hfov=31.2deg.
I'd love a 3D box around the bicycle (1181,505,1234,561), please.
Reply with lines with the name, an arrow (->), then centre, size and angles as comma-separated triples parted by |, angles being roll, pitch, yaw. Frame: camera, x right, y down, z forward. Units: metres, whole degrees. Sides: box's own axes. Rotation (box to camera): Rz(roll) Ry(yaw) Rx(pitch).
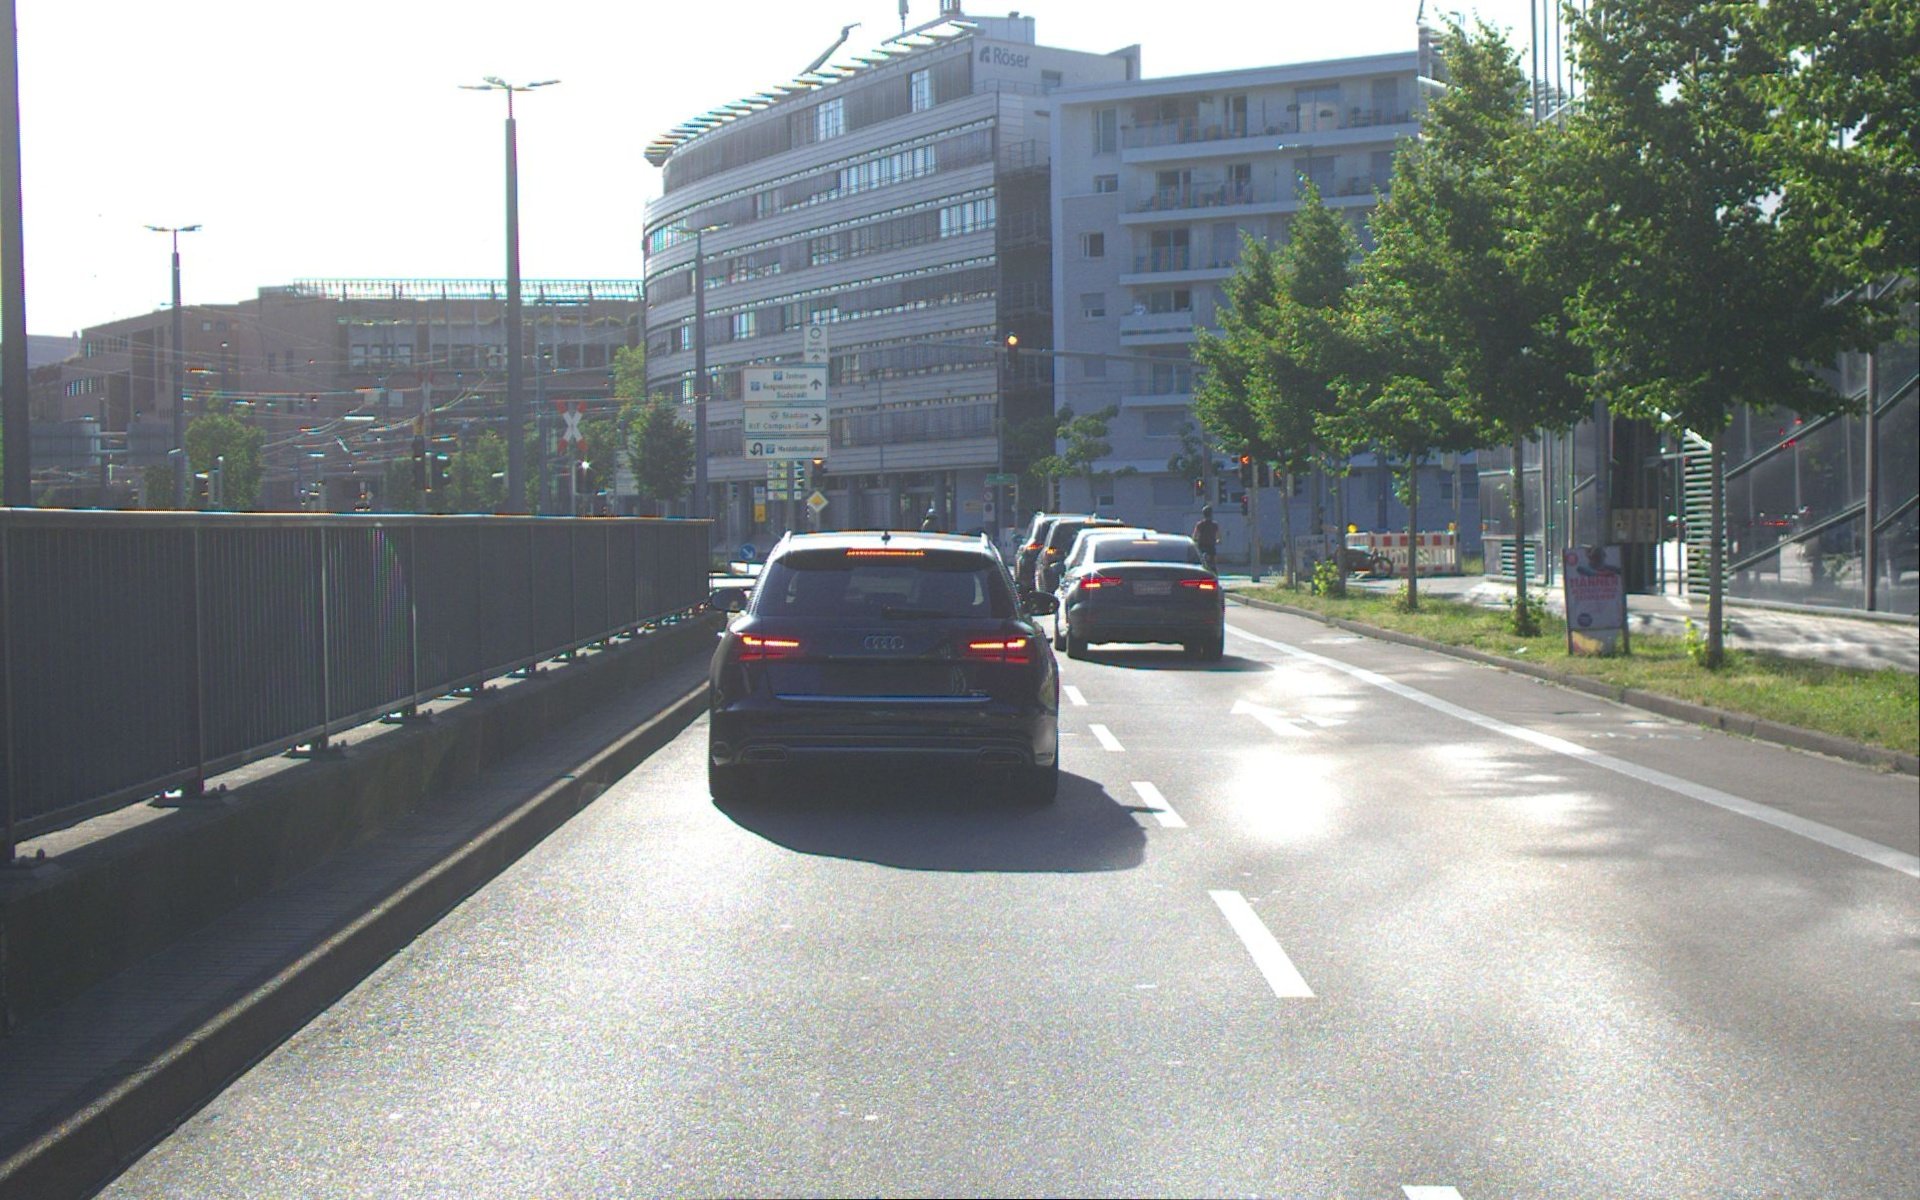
bicycle -> 5.391, -1.478, 75.099 | 0.724, 1.180, 2.094 | -2, 2, -7

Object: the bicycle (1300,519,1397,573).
bicycle -> 9.060, -1.269, 80.095 | 2.086, 1.180, 0.727 | -2, 2, -12

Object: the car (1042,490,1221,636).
car -> 1.915, -0.463, 39.353 | 1.852, 1.540, 4.000 | 1, 2, 0

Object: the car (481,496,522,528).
car -> -26.358, -5.065, 197.731 | 1.993, 1.744, 4.001 | -2, 2, -3

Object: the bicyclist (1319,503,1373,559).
bicyclist -> 8.980, -1.603, 80.078 | 1.032, 1.264, 0.727 | -2, 2, -12

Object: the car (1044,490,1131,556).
car -> 2.979, -1.833, 81.278 | 1.993, 1.460, 4.000 | 1, 3, 1

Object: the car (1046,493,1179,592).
car -> 2.407, -0.953, 55.165 | 1.993, 1.460, 4.001 | 0, 3, 1

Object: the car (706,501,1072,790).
car -> -0.390, 0.168, 19.528 | 1.812, 1.422, 4.690 | -1, 1, -1

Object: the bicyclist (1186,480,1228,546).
bicyclist -> 5.391, -1.907, 75.109 | 0.724, 1.413, 0.892 | -2, 2, -7

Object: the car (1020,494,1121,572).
car -> 2.237, -1.394, 70.094 | 1.993, 1.460, 4.000 | 1, 3, 1

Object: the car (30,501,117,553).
car -> -31.021, -2.583, 120.383 | 1.993, 1.711, 4.001 | -2, 2, -1
